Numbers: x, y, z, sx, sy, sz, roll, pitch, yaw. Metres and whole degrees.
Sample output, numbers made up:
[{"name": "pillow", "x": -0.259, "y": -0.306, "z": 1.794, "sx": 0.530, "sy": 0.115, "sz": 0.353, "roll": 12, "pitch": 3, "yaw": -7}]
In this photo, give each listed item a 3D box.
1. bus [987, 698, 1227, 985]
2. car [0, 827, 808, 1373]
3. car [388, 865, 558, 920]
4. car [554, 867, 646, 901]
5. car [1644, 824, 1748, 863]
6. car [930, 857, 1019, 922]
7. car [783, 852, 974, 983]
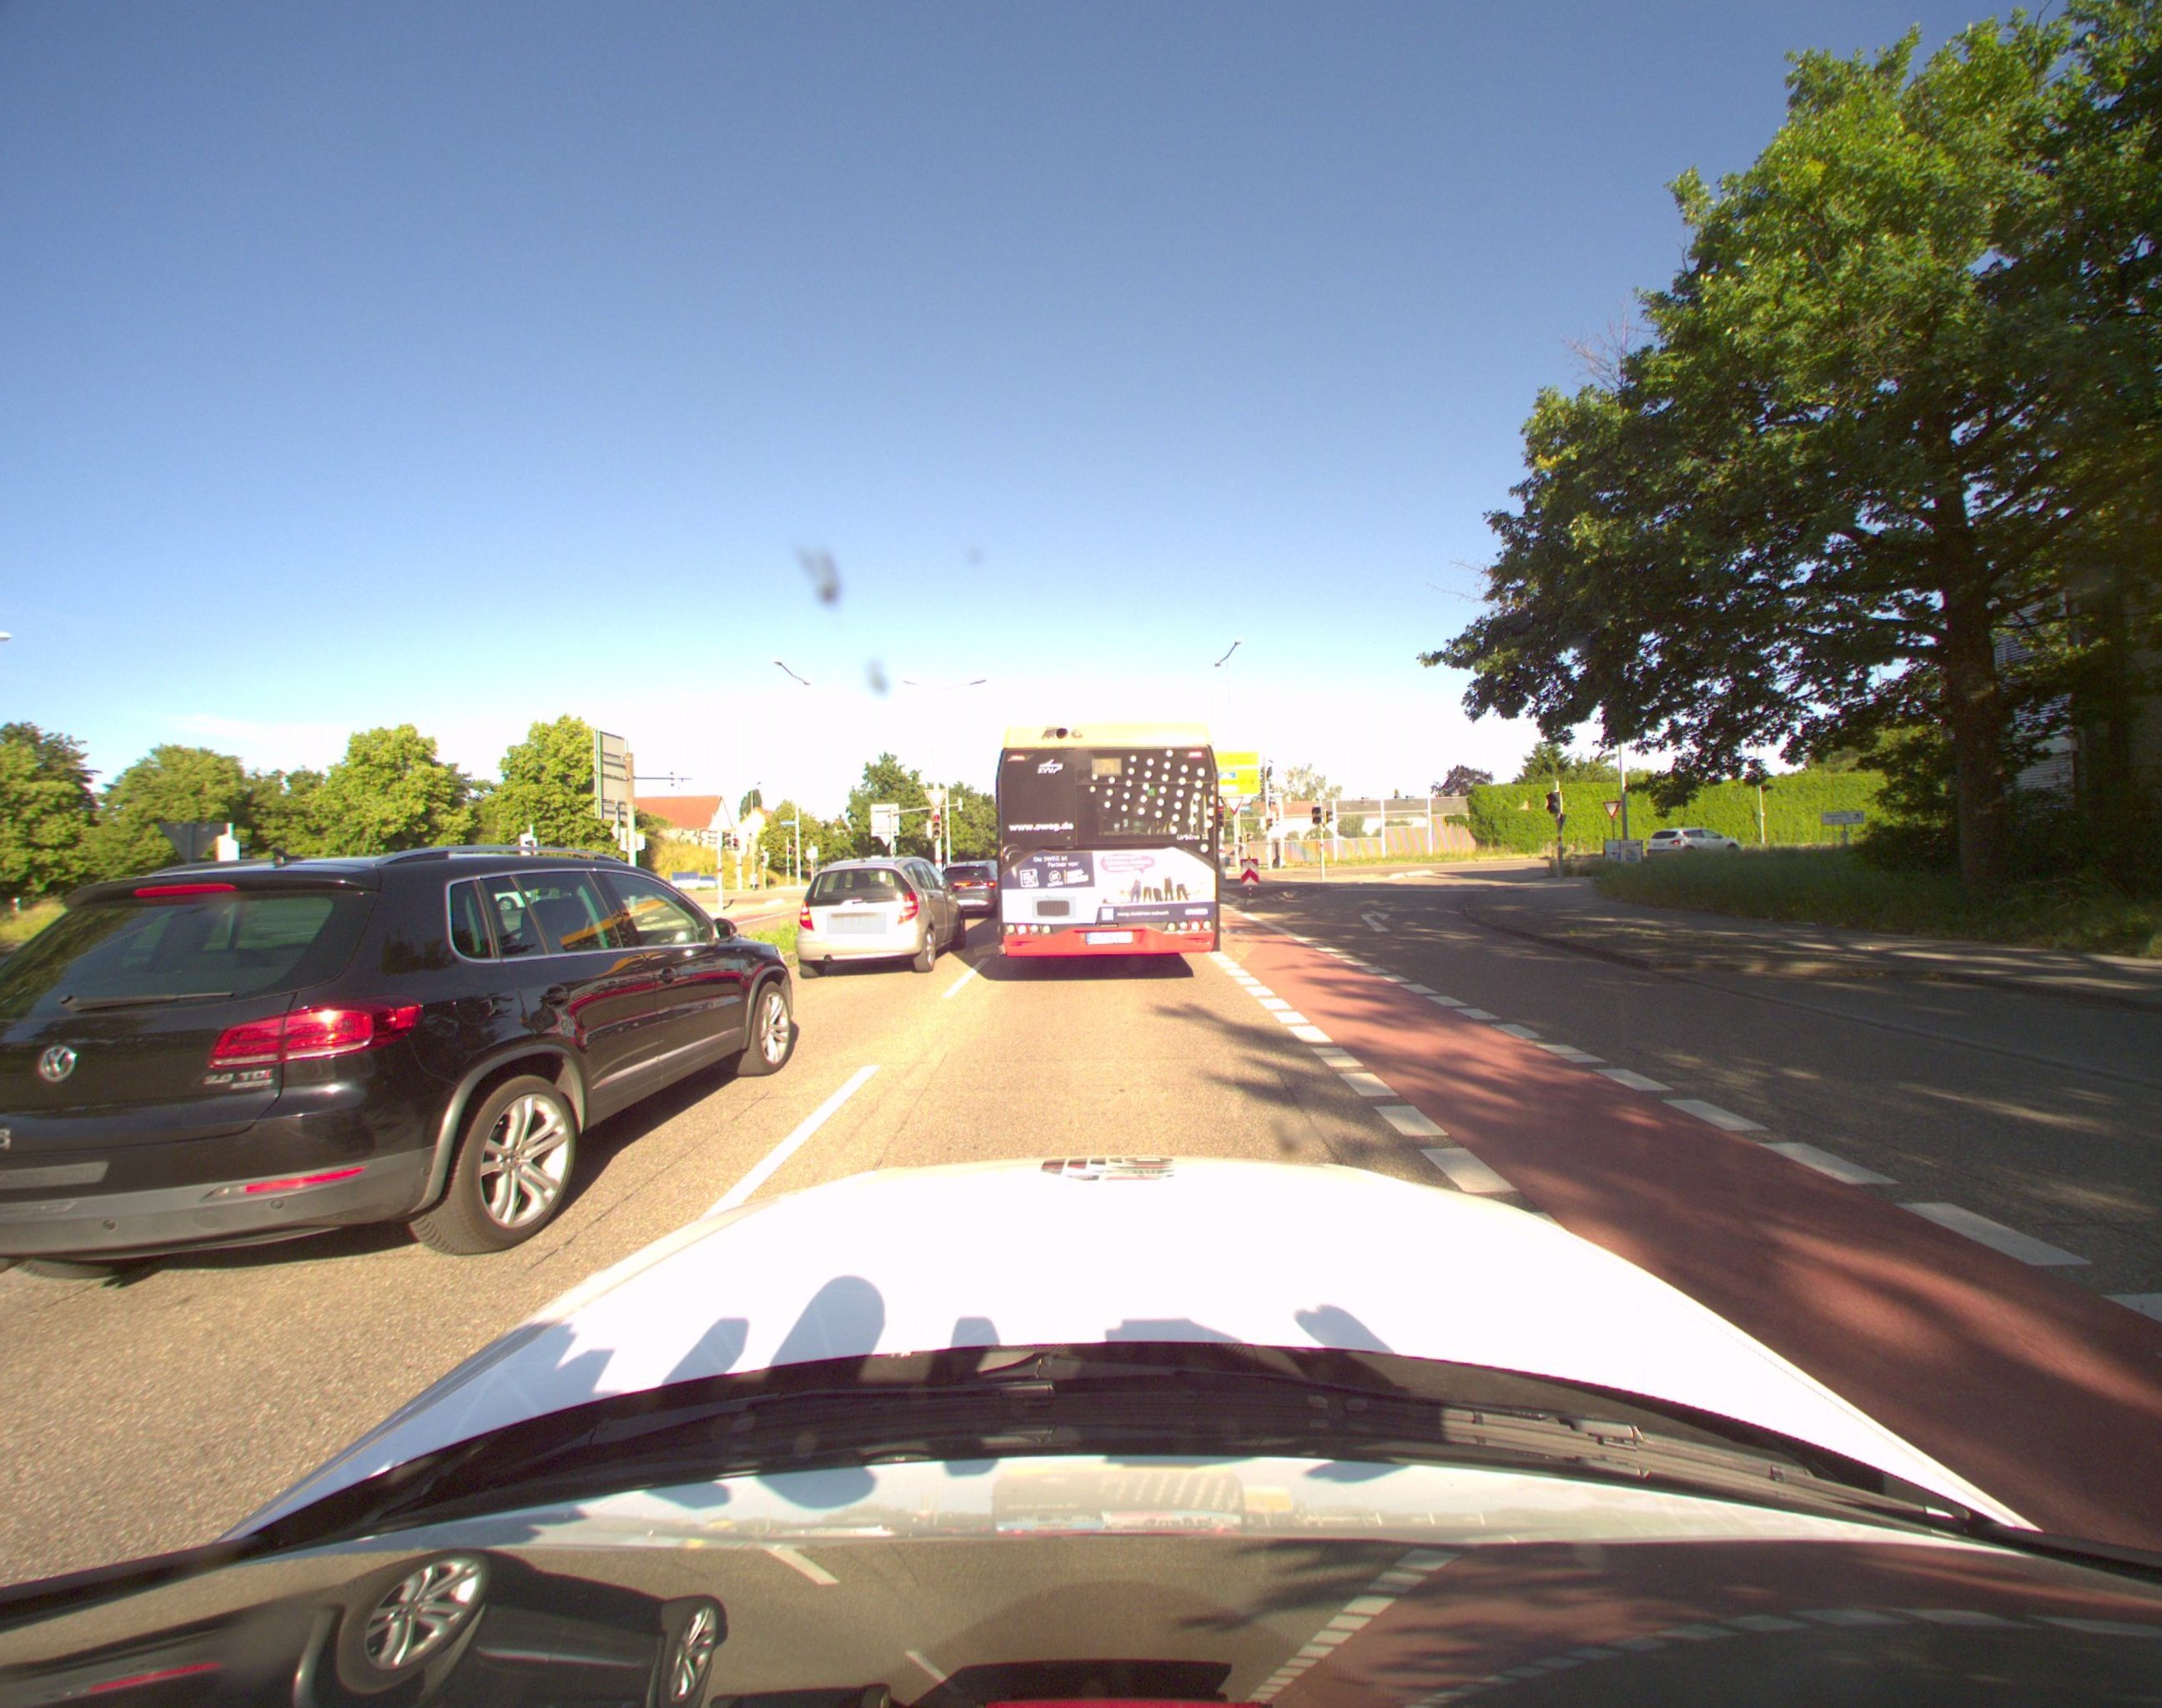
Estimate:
[{"name": "bus", "x": 0.524, "y": -0.169, "z": 15.029, "sx": 2.632, "sy": 3.167, "sz": 11.867, "roll": -1, "pitch": 0, "yaw": 2}, {"name": "car", "x": -3.169, "y": 0.795, "z": 4.564, "sx": 1.766, "sy": 1.653, "sz": 4.001, "roll": -3, "pitch": 0, "yaw": 1}, {"name": "car", "x": -25.630, "y": 1.582, "z": 34.509, "sx": 5.375, "sy": 2.118, "sz": 2.178, "roll": -1, "pitch": -1, "yaw": -4}, {"name": "car", "x": -24.572, "y": 1.531, "z": 41.681, "sx": 3.577, "sy": 1.560, "sz": 1.747, "roll": -2, "pitch": 0, "yaw": -5}, {"name": "car", "x": 28.973, "y": -0.492, "z": 38.381, "sx": 4.060, "sy": 1.607, "sz": 1.715, "roll": -3, "pitch": 1, "yaw": -14}, {"name": "car", "x": -2.688, "y": 0.852, "z": 21.324, "sx": 1.686, "sy": 1.458, "sz": 3.751, "roll": -3, "pitch": 0, "yaw": 1}, {"name": "car", "x": -2.871, "y": 0.820, "z": 12.482, "sx": 1.755, "sy": 1.589, "sz": 4.001, "roll": -3, "pitch": 0, "yaw": 1}]
